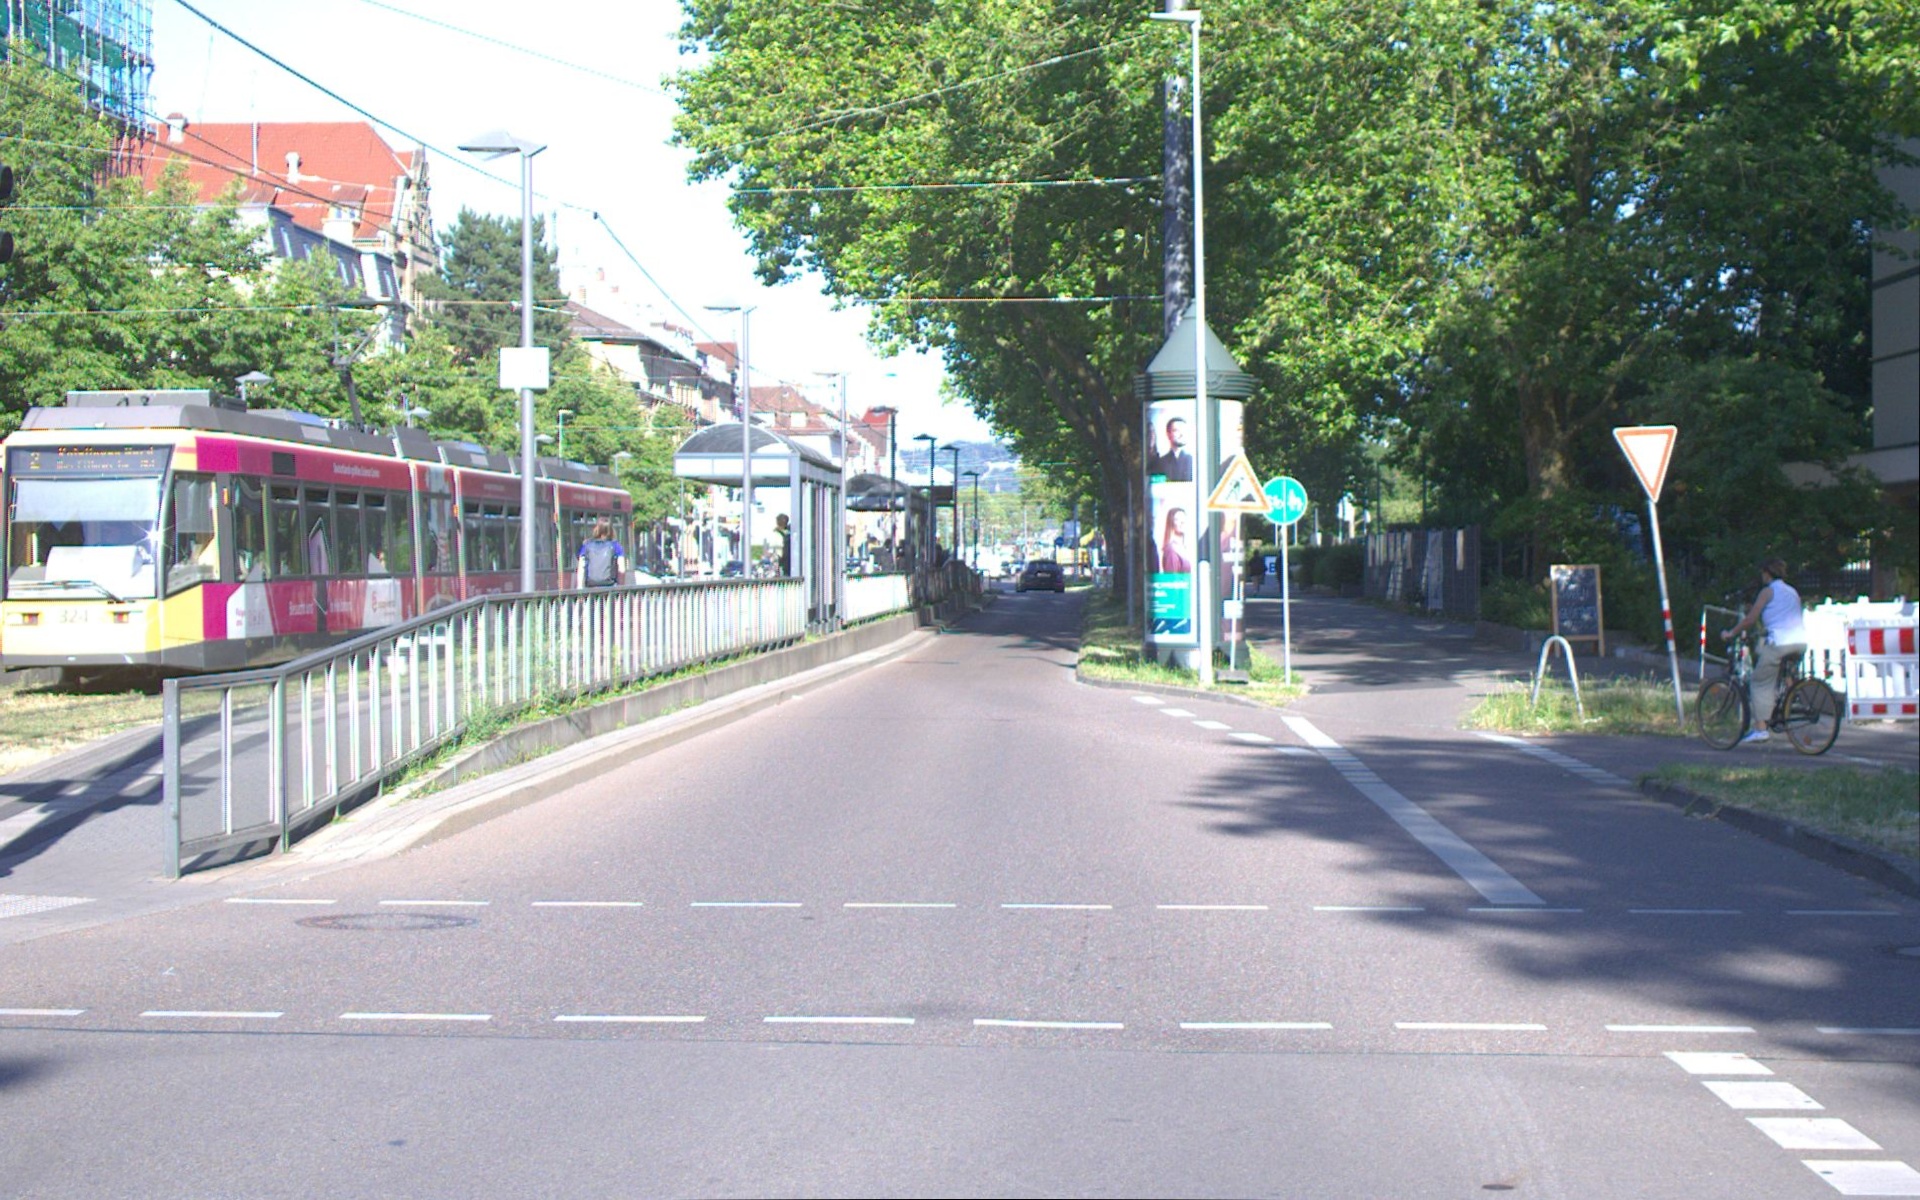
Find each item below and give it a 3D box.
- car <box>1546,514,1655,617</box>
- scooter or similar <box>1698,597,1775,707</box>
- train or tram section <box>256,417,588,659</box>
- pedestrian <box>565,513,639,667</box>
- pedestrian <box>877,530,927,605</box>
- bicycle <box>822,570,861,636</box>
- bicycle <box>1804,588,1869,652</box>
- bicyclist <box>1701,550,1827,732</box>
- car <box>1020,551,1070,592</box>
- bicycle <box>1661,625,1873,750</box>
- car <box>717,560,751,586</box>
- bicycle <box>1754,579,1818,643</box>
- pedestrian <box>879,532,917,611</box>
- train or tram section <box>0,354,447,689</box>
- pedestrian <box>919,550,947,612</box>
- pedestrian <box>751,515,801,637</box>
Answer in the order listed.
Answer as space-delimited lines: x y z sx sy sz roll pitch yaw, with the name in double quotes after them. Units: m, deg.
16.357 -0.879 88.116 1.994 2.491 6.345 2 0 4 "car"
9.082 0.603 40.238 0.560 1.253 1.290 -1 0 -1 "scooter or similar"
-8.965 -0.986 59.528 2.870 3.673 14.559 0 0 2 "train or tram section"
-3.823 -0.112 36.742 0.629 1.604 0.982 2 0 1 "pedestrian"
-1.344 -0.760 79.917 0.907 1.716 0.631 2 0 -31 "pedestrian"
-2.091 0.040 60.866 0.513 1.129 2.103 2 0 2 "bicycle"
16.653 0.373 65.352 0.789 1.173 1.820 2 0 2 "bicycle"
6.941 0.341 29.688 0.603 1.545 0.859 0 0 -40 "bicyclist"
3.598 -1.206 145.430 1.994 1.678 4.000 2 0 2 "car"
6.952 0.740 29.679 0.603 1.023 1.766 0 0 -40 "bicycle"
-16.369 -1.964 248.872 2.015 1.748 4.558 2 1 2 "car"
15.711 0.196 65.434 0.789 1.173 1.820 2 0 2 "bicycle"
-1.398 -0.639 77.676 0.765 1.752 0.695 2 0 2 "pedestrian"
-9.537 -0.900 44.988 2.870 3.663 14.559 0 0 2 "train or tram section"
-0.734 -0.526 94.822 0.679 1.684 0.894 2 0 2 "pedestrian"
-2.893 -0.382 54.193 0.669 1.896 0.824 2 0 1 "pedestrian"
